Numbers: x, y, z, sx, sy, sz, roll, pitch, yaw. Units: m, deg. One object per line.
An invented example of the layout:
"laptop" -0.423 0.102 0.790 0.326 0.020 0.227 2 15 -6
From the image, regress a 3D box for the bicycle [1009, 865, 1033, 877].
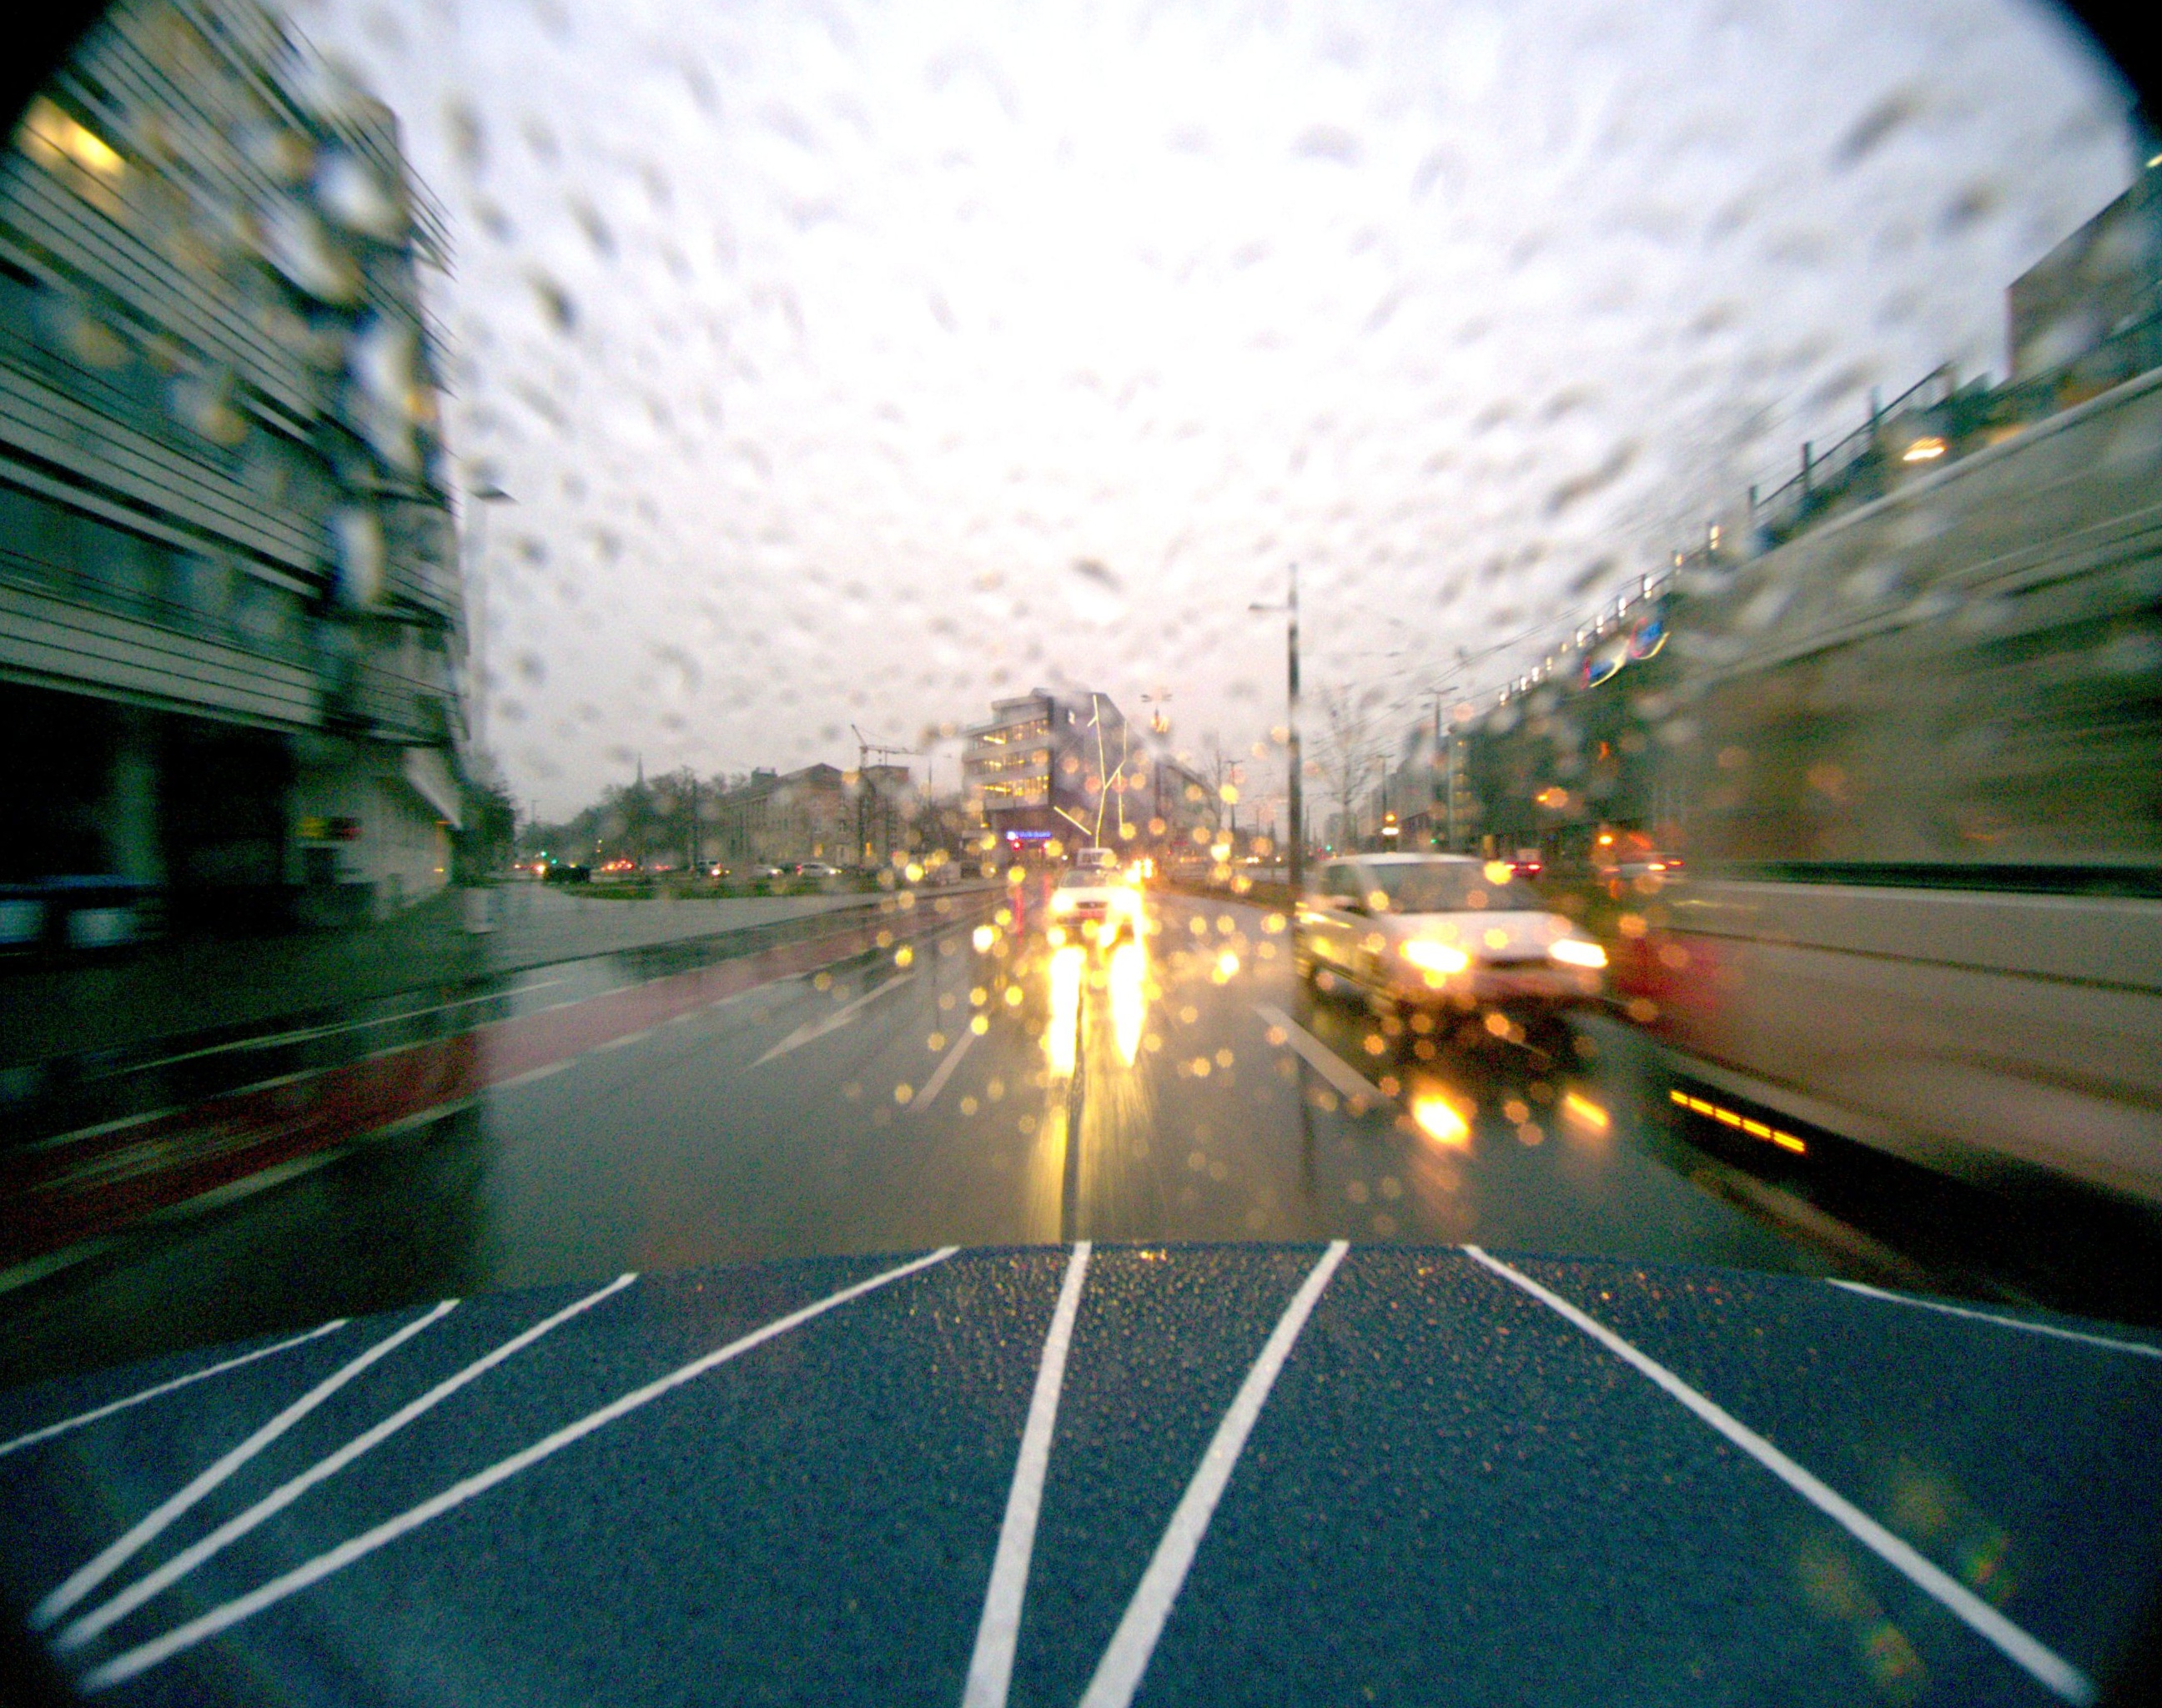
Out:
"bicycle" -4.896 1.363 62.412 1.862 0.968 0.658 -1 0 23

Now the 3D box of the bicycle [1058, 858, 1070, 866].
"bicycle" -2.316 1.095 103.604 1.598 1.064 0.643 -1 0 17

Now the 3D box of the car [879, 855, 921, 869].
"car" -22.120 0.980 92.898 4.603 1.709 1.931 -1 0 9

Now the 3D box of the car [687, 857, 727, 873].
"car" -51.750 1.509 105.027 5.646 2.047 1.957 -1 0 28

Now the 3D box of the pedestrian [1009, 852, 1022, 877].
"pedestrian" -4.919 0.797 57.044 0.777 1.866 0.633 -1 1 -39

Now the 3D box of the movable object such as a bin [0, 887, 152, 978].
"movable object such as a bin" -15.504 1.182 11.766 0.847 1.286 1.167 1 0 -9

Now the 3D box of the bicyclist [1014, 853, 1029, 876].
"bicyclist" -4.885 0.885 62.489 0.987 1.879 0.794 0 1 24

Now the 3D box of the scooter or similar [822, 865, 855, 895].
"scooter or similar" -10.704 1.149 33.608 0.669 1.220 1.558 0 2 13

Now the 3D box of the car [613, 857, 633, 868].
"car" -86.359 1.654 143.143 4.948 1.861 1.908 1 4 45

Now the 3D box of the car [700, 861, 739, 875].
"car" -40.245 1.602 84.601 4.159 1.466 1.881 -1 1 31

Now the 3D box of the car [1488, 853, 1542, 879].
"car" 26.187 0.703 45.967 1.817 1.433 3.960 -1 0 14

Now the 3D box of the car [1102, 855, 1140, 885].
"car" 1.952 0.768 37.968 1.723 1.380 3.821 -1 1 1

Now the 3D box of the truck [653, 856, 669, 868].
"truck" -73.358 1.431 132.649 1.842 2.032 3.989 -1 0 -36

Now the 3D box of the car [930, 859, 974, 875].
"car" -12.927 1.267 76.101 3.910 1.455 1.765 -1 2 12

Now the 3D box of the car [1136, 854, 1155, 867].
"car" 8.844 0.912 104.586 1.830 1.652 4.005 -1 0 17

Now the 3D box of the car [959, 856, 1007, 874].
"car" -9.185 1.056 71.500 3.999 1.590 1.904 -1 0 12

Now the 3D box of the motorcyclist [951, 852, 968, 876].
"motorcyclist" -9.507 0.775 59.306 0.919 1.871 0.888 0 1 43

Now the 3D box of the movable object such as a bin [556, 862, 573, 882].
"movable object such as a bin" -41.440 1.399 60.998 1.055 1.566 1.137 -1 0 -33

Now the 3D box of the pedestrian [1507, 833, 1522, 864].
"pedestrian" 41.944 -0.529 73.523 1.111 2.909 0.967 0 2 17

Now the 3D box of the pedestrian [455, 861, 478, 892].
"pedestrian" -32.365 1.186 40.038 0.632 1.623 0.721 -1 0 -8

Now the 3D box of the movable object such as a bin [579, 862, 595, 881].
"movable object such as a bin" -40.170 1.416 61.792 1.055 1.501 1.250 -1 0 -33

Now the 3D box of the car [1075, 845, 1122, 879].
"car" 1.268 0.547 58.612 2.244 2.449 5.661 -1 1 -14

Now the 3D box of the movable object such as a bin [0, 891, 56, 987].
"movable object such as a bin" -15.285 1.178 10.446 0.847 1.286 1.167 1 0 -9

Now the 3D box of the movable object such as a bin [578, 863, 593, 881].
"movable object such as a bin" -41.090 1.469 63.010 1.055 1.423 1.222 -1 0 -33

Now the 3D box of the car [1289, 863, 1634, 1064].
"car" 3.387 0.854 7.597 1.642 1.487 3.686 -1 0 1

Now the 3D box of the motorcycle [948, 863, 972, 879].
"motorcycle" -9.426 1.313 59.293 2.402 1.176 0.485 -1 0 45

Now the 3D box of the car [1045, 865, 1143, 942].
"car" 0.181 1.034 17.532 1.788 1.370 4.220 -2 1 -5

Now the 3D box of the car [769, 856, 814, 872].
"car" -37.341 1.280 97.822 5.647 2.047 1.957 -1 0 24

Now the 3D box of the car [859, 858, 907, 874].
"car" -20.314 1.212 77.902 4.353 1.561 1.829 -1 0 16

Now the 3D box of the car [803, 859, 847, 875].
"car" -26.849 1.371 79.682 4.214 1.590 1.679 -1 0 16

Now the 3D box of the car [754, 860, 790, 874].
"car" -33.181 1.409 81.615 3.339 1.422 1.693 0 1 19

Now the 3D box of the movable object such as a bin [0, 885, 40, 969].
"movable object such as a bin" -17.469 1.165 12.004 0.731 1.297 0.963 1 0 -9
